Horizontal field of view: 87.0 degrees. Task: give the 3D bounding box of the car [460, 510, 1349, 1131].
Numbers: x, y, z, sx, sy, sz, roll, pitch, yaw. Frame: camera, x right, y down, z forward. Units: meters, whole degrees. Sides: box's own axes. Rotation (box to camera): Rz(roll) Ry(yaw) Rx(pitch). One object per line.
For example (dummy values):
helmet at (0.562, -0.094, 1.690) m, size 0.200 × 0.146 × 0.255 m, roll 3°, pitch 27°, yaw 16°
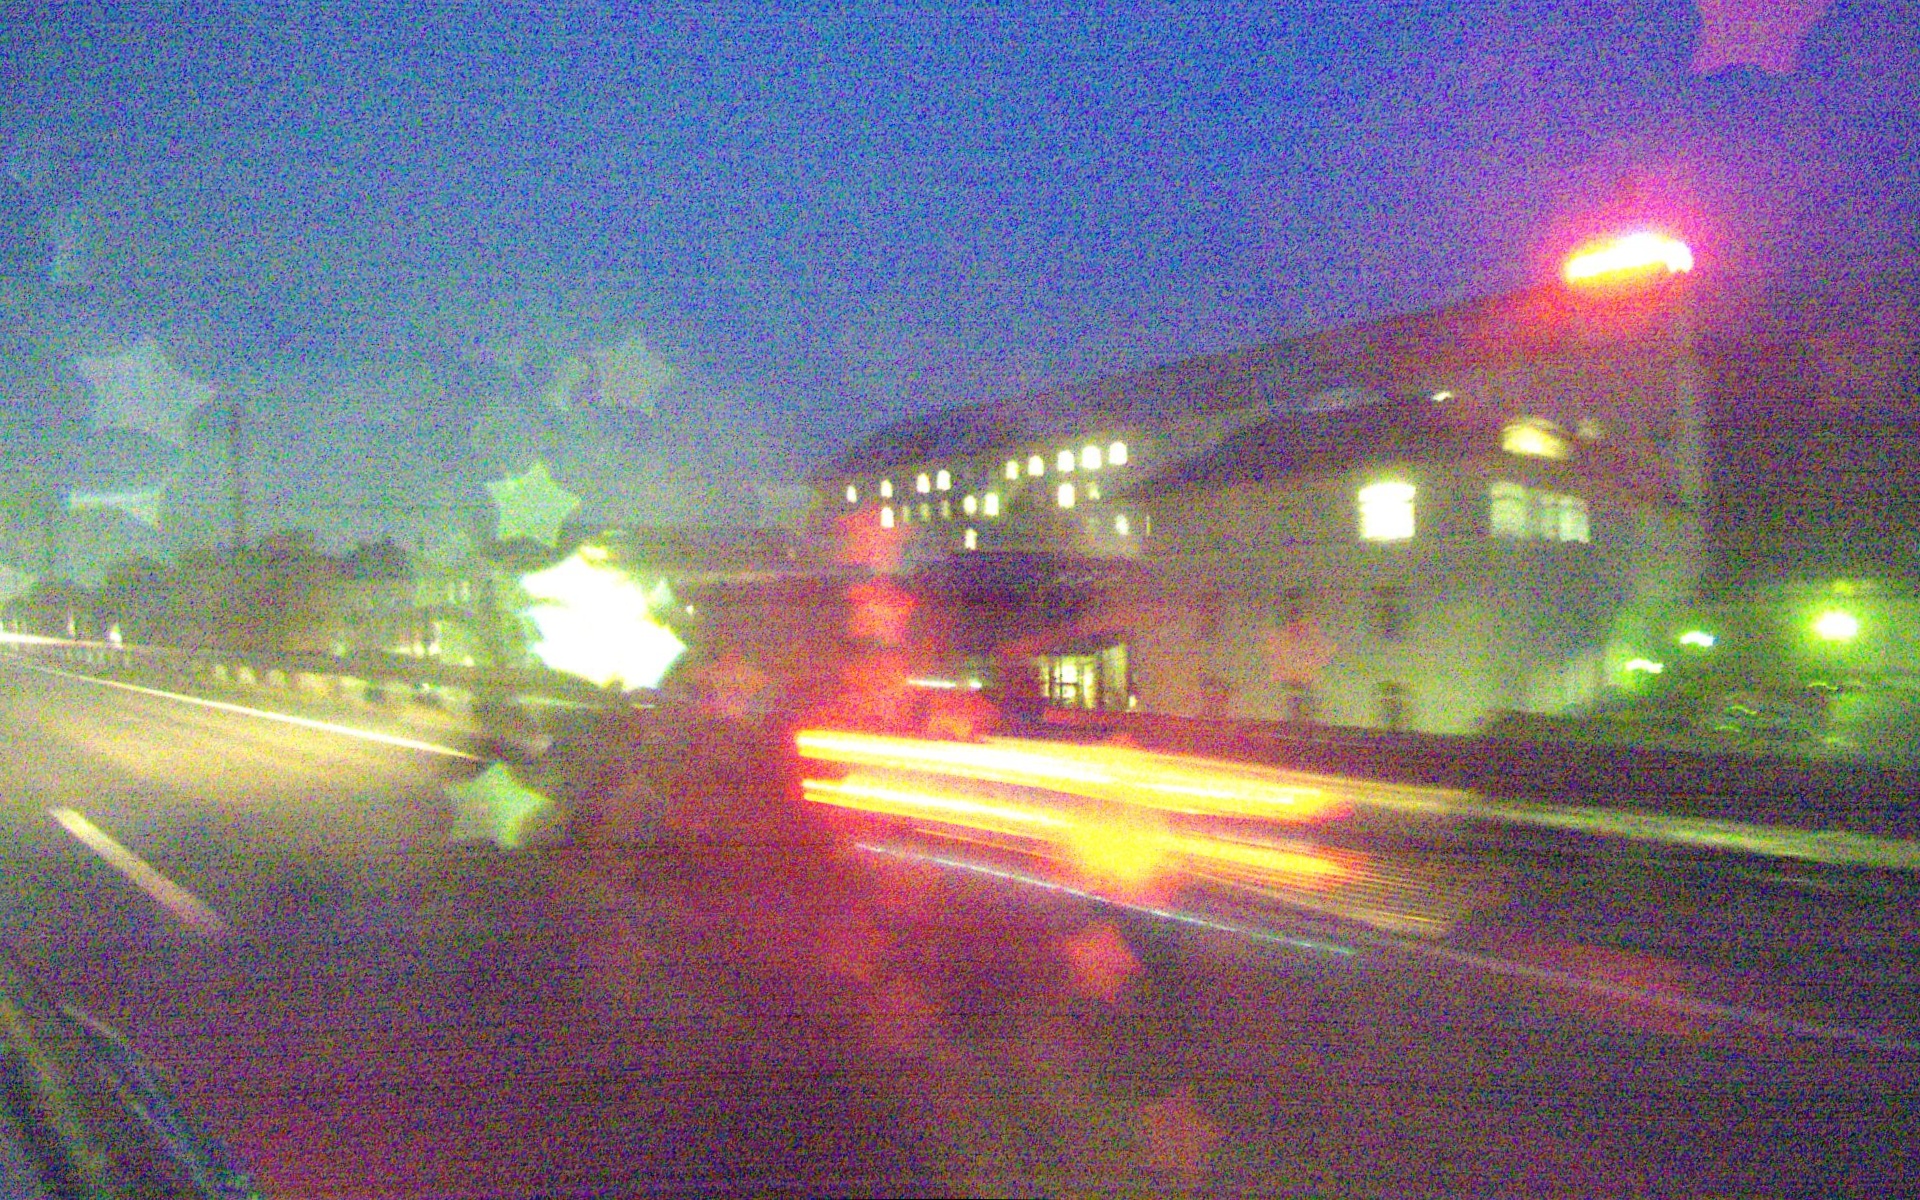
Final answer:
car at (-0.498, 0.607, 4.621) m, size 3.844 × 1.625 × 1.849 m, roll -1°, pitch -1°, yaw 41°
